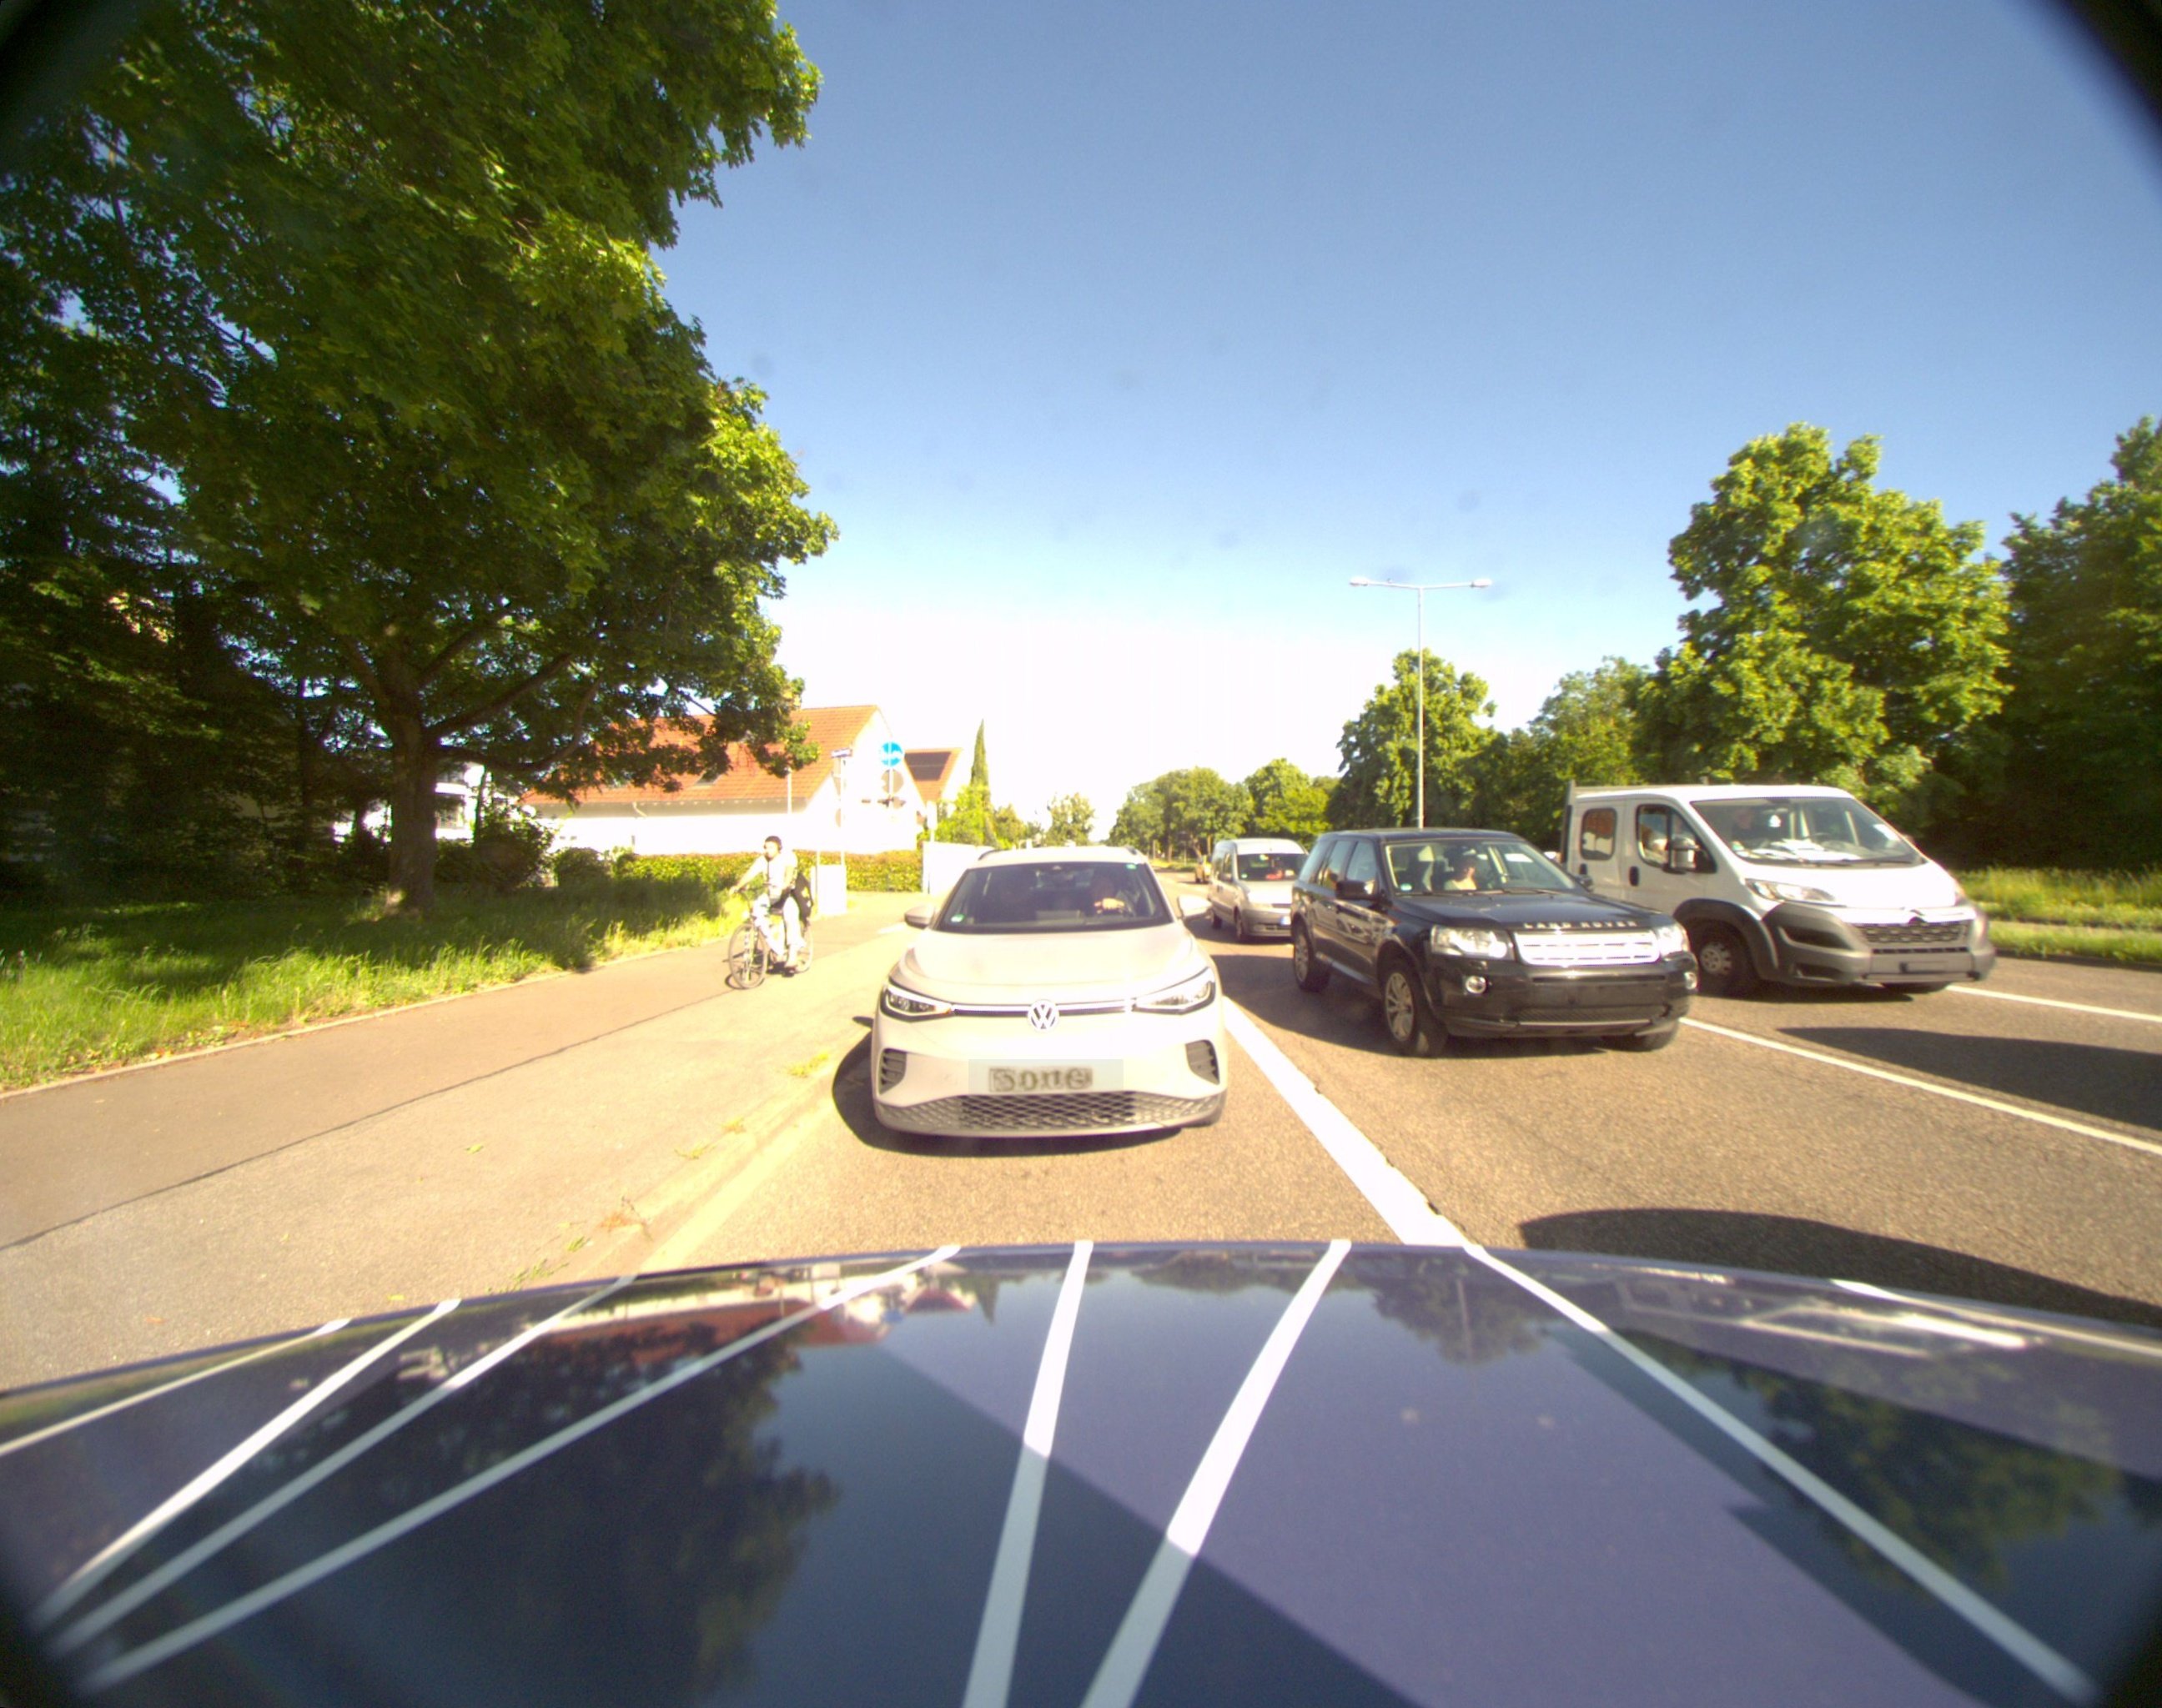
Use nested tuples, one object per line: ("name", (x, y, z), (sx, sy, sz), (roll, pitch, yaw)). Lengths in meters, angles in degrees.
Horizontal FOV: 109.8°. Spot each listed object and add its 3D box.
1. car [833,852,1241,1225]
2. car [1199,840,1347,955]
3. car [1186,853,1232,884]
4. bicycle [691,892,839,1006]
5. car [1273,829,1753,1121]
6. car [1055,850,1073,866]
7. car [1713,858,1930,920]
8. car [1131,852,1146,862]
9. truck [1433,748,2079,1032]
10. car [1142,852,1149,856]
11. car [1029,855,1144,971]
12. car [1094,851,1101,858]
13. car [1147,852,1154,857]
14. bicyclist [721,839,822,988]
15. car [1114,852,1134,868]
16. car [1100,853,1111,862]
("car", (-0.174, 0.843, 5.579), (1.858, 1.679, 4.206), (0, 1, 1))
("car", (3.321, 0.647, 13.969), (1.632, 1.741, 4.386), (-2, 1, 1))
("car", (6.558, 0.709, 39.371), (1.704, 1.466, 3.931), (-1, 0, 0))
("bicycle", (-3.504, 1.003, 8.644), (0.579, 1.091, 1.989), (2, -1, 8))
("car", (3.162, 0.709, 6.774), (1.816, 1.721, 4.386), (-2, 1, 1))
("car", (-1.665, 0.393, 73.992), (1.630, 1.523, 3.931), (-1, 0, 0))
("car", (19.212, 0.837, 20.016), (1.645, 1.447, 4.222), (0, 0, 1))
("car", (8.300, 0.436, 110.559), (1.727, 1.436, 3.999), (0, 0, -2))
("truck", (7.209, 0.264, 9.742), (2.185, 2.307, 6.842), (-2, 1, 0))
("car", (21.152, 0.036, 249.010), (1.792, 1.409, 4.000), (0, 0, 1))
("car", (0.105, 0.860, 13.023), (1.632, 1.586, 4.024), (-2, 1, 1))
("car", (4.126, 0.173, 194.299), (1.726, 1.630, 4.000), (0, 0, 1))
("car", (20.623, 0.167, 225.598), (1.792, 1.674, 4.000), (0, 0, 1))
("bicyclist", (-3.492, 0.654, 8.646), (0.579, 1.571, 0.998), (2, -1, 8))
("car", (4.135, 0.584, 73.417), (1.630, 1.466, 3.931), (-2, 0, 0))
("car", (4.177, 0.566, 129.848), (1.726, 1.630, 4.000), (0, 0, 1))
